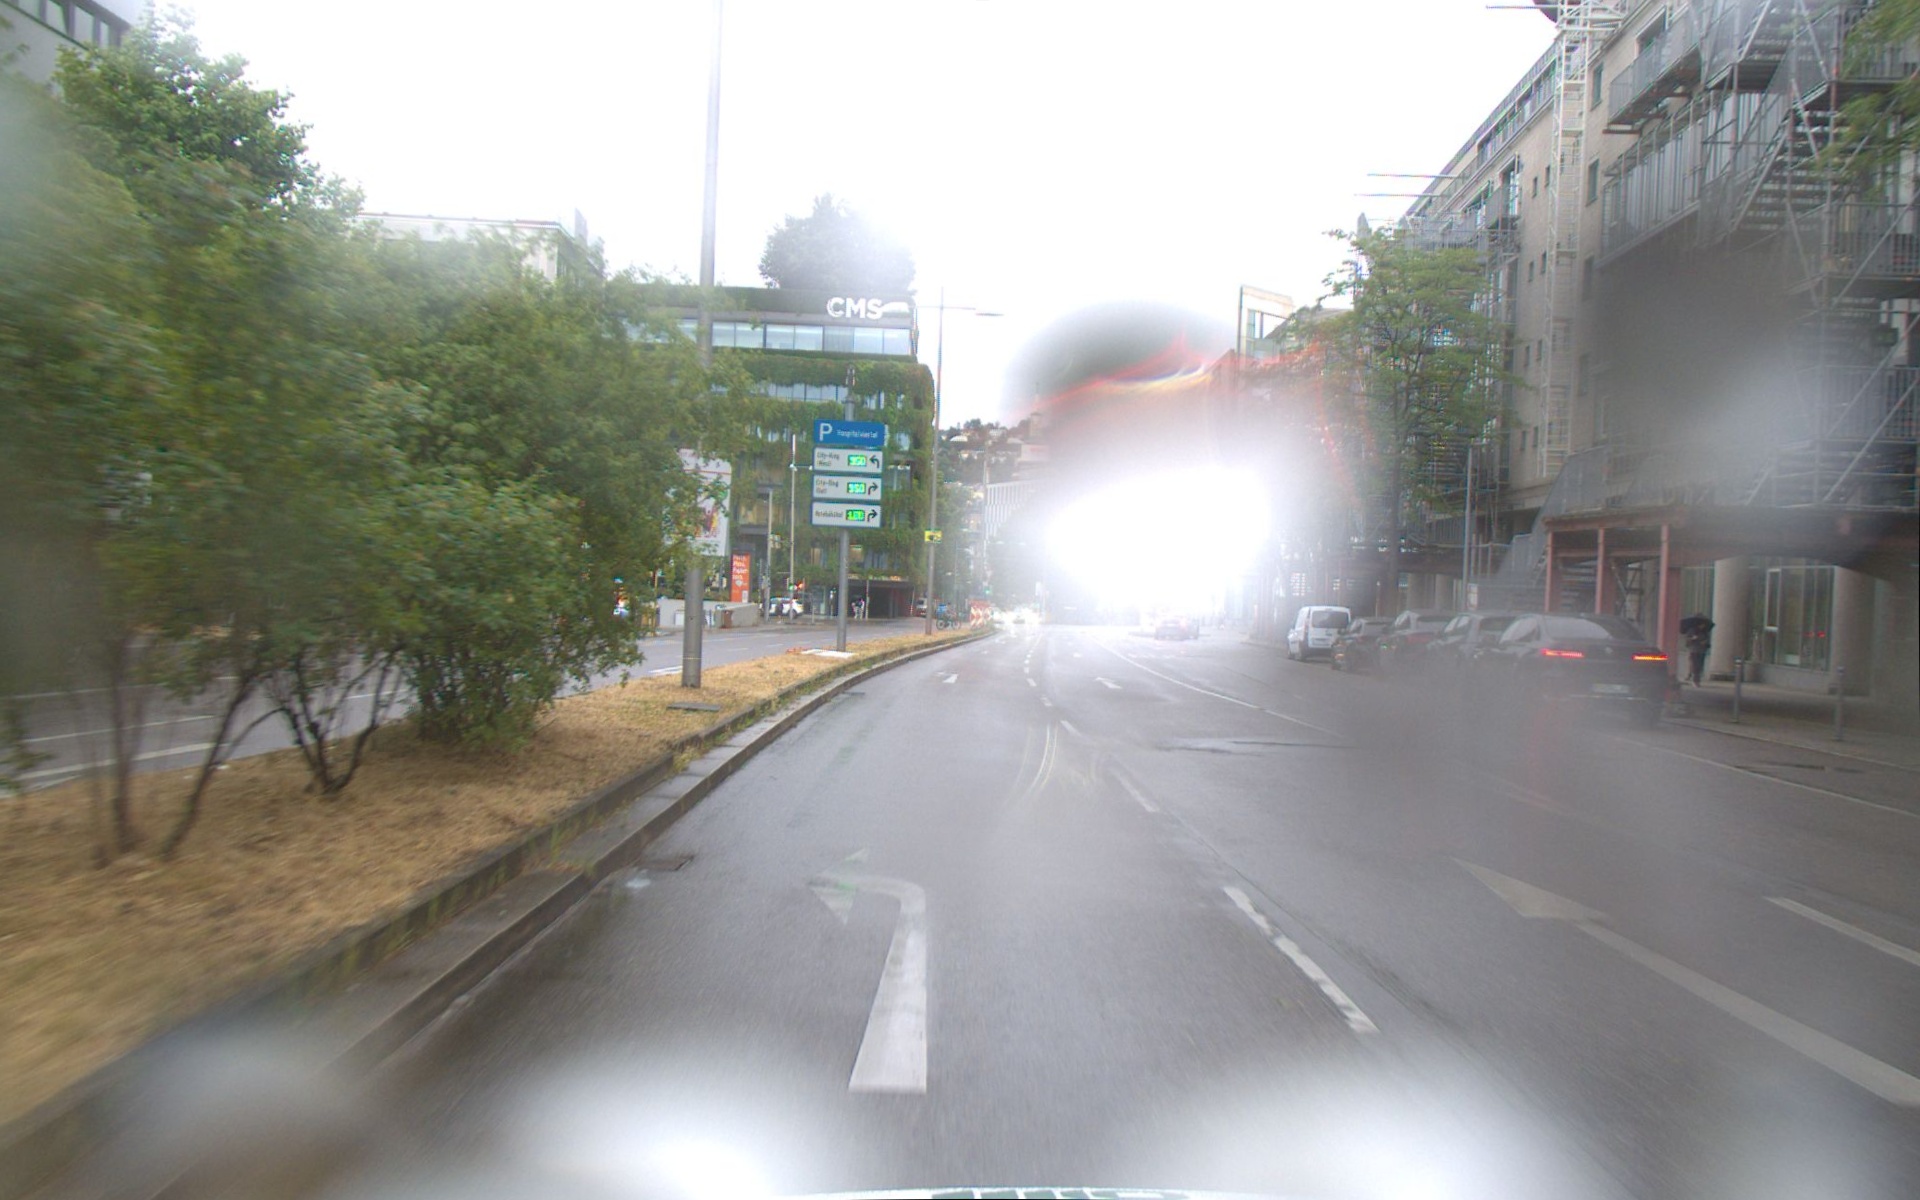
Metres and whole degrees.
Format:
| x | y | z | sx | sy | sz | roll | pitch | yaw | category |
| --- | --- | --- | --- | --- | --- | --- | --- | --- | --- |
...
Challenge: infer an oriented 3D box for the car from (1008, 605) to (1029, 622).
| x | y | z | sx | sy | sz | roll | pitch | yaw | category |
| --- | --- | --- | --- | --- | --- | --- | --- | --- | --- |
| 5.639 | 1.305 | 158.735 | 1.952 | 1.577 | 4.556 | 1 | 0 | 2 | car |

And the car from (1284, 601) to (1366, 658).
| x | y | z | sx | sy | sz | roll | pitch | yaw | category |
| --- | --- | --- | --- | --- | --- | --- | --- | --- | --- |
| 12.083 | 0.957 | 55.033 | 1.952 | 1.780 | 4.528 | 1 | 0 | 3 | car |

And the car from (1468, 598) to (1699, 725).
| x | y | z | sx | sy | sz | roll | pitch | yaw | category |
| --- | --- | --- | --- | --- | --- | --- | --- | --- | --- |
| 9.056 | 0.820 | 24.536 | 1.951 | 1.629 | 5.293 | 1 | 0 | 7 | car |

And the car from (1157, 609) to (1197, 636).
| x | y | z | sx | sy | sz | roll | pitch | yaw | category |
| --- | --- | --- | --- | --- | --- | --- | --- | --- | --- |
| 13.638 | 1.411 | 103.816 | 1.668 | 1.556 | 4.428 | 1 | 0 | 18 | car |

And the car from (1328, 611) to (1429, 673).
| x | y | z | sx | sy | sz | roll | pitch | yaw | category |
| --- | --- | --- | --- | --- | --- | --- | --- | --- | --- |
| 10.885 | 1.059 | 43.324 | 1.829 | 1.462 | 4.924 | 1 | 0 | 5 | car |

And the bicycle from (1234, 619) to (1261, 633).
| x | y | z | sx | sy | sz | roll | pitch | yaw | category |
| --- | --- | --- | --- | --- | --- | --- | --- | --- | --- |
| 23.469 | 2.120 | 135.063 | 0.785 | 1.136 | 2.226 | 2 | 0 | -37 | bicycle |

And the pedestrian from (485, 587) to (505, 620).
| x | y | z | sx | sy | sz | roll | pitch | yaw | category |
| --- | --- | --- | --- | --- | --- | --- | --- | --- | --- |
| -21.534 | 0.164 | 76.550 | 0.712 | 1.476 | 0.691 | 2 | 0 | -3 | pedestrian |

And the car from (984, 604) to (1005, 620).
| x | y | z | sx | sy | sz | roll | pitch | yaw | category |
| --- | --- | --- | --- | --- | --- | --- | --- | --- | --- |
| 3.432 | 1.148 | 164.755 | 1.819 | 1.474 | 4.618 | 1 | 0 | -3 | car |

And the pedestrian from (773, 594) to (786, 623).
| x | y | z | sx | sy | sz | roll | pitch | yaw | category |
| --- | --- | --- | --- | --- | --- | --- | --- | --- | --- |
| -12.090 | 0.548 | 110.773 | 0.789 | 1.918 | 0.866 | -2 | 0 | -3 | pedestrian |

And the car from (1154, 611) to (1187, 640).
| x | y | z | sx | sy | sz | roll | pitch | yaw | category |
| --- | --- | --- | --- | --- | --- | --- | --- | --- | --- |
| 12.271 | 1.469 | 96.571 | 1.741 | 1.567 | 4.149 | 2 | 0 | 6 | car |

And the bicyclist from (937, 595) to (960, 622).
| x | y | z | sx | sy | sz | roll | pitch | yaw | category |
| --- | --- | --- | --- | --- | --- | --- | --- | --- | --- |
| -0.742 | 0.587 | 108.783 | 0.831 | 1.734 | 1.293 | 1 | -1 | 37 | bicyclist |

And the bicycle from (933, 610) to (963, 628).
| x | y | z | sx | sy | sz | roll | pitch | yaw | category |
| --- | --- | --- | --- | --- | --- | --- | --- | --- | --- |
| -0.760 | 1.253 | 108.829 | 0.832 | 1.122 | 2.143 | 1 | 0 | 38 | bicycle |

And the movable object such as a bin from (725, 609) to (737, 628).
| x | y | z | sx | sy | sz | roll | pitch | yaw | category |
| --- | --- | --- | --- | --- | --- | --- | --- | --- | --- |
| -11.147 | 0.901 | 80.541 | 0.521 | 0.913 | 0.681 | 0 | 0 | -6 | movable object such as a bin |

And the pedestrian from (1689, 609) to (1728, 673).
| x | y | z | sx | sy | sz | roll | pitch | yaw | category |
| --- | --- | --- | --- | --- | --- | --- | --- | --- | --- |
| 18.740 | 1.017 | 41.416 | 0.666 | 1.545 | 0.767 | 2 | 0 | 6 | pedestrian |

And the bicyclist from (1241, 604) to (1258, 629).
| x | y | z | sx | sy | sz | roll | pitch | yaw | category |
| --- | --- | --- | --- | --- | --- | --- | --- | --- | --- |
| 23.630 | 1.375 | 134.868 | 0.785 | 2.009 | 1.100 | 2 | -1 | -36 | bicyclist |

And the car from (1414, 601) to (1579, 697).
| x | y | z | sx | sy | sz | roll | pitch | yaw | category |
| --- | --- | --- | --- | --- | --- | --- | --- | --- | --- |
| 9.996 | 0.859 | 31.180 | 1.822 | 1.629 | 4.594 | 1 | 0 | 3 | car |

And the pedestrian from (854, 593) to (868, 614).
| x | y | z | sx | sy | sz | roll | pitch | yaw | category |
| --- | --- | --- | --- | --- | --- | --- | --- | --- | --- |
| -8.665 | 0.282 | 145.002 | 0.921 | 1.788 | 1.165 | 2 | 0 | -20 | pedestrian |

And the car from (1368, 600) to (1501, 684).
| x | y | z | sx | sy | sz | roll | pitch | yaw | category |
| --- | --- | --- | --- | --- | --- | --- | --- | --- | --- |
| 10.385 | 0.869 | 36.545 | 1.951 | 1.675 | 4.865 | 1 | 0 | 5 | car |

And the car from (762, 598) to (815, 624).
| x | y | z | sx | sy | sz | roll | pitch | yaw | category |
| --- | --- | --- | --- | --- | --- | --- | --- | --- | --- |
| -13.676 | 0.867 | 131.972 | 3.904 | 1.917 | 2.001 | 2 | 0 | 3 | car |

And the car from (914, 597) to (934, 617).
| x | y | z | sx | sy | sz | roll | pitch | yaw | category |
| --- | --- | --- | --- | --- | --- | --- | --- | --- | --- |
| -3.626 | 0.719 | 169.159 | 1.953 | 1.928 | 4.464 | 1 | 0 | -1 | car |

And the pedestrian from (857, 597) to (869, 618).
| x | y | z | sx | sy | sz | roll | pitch | yaw | category |
| --- | --- | --- | --- | --- | --- | --- | --- | --- | --- |
| -8.499 | 0.647 | 144.926 | 0.730 | 1.788 | 0.970 | 2 | 0 | -20 | pedestrian |

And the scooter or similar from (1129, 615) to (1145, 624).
| x | y | z | sx | sy | sz | roll | pitch | yaw | category |
| --- | --- | --- | --- | --- | --- | --- | --- | --- | --- |
| 19.224 | 2.129 | 179.526 | 1.717 | 0.894 | 0.487 | 1 | -1 | -16 | scooter or similar |

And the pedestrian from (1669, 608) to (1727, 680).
| x | y | z | sx | sy | sz | roll | pitch | yaw | category |
| --- | --- | --- | --- | --- | --- | --- | --- | --- | --- |
| 17.224 | 1.023 | 38.613 | 0.801 | 1.624 | 1.113 | 2 | 0 | -1 | pedestrian |

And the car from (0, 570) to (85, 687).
| x | y | z | sx | sy | sz | roll | pitch | yaw | category |
| --- | --- | --- | --- | --- | --- | --- | --- | --- | --- |
| -14.462 | 0.385 | 23.589 | 1.742 | 1.664 | 4.024 | 2 | 0 | 1 | car |
